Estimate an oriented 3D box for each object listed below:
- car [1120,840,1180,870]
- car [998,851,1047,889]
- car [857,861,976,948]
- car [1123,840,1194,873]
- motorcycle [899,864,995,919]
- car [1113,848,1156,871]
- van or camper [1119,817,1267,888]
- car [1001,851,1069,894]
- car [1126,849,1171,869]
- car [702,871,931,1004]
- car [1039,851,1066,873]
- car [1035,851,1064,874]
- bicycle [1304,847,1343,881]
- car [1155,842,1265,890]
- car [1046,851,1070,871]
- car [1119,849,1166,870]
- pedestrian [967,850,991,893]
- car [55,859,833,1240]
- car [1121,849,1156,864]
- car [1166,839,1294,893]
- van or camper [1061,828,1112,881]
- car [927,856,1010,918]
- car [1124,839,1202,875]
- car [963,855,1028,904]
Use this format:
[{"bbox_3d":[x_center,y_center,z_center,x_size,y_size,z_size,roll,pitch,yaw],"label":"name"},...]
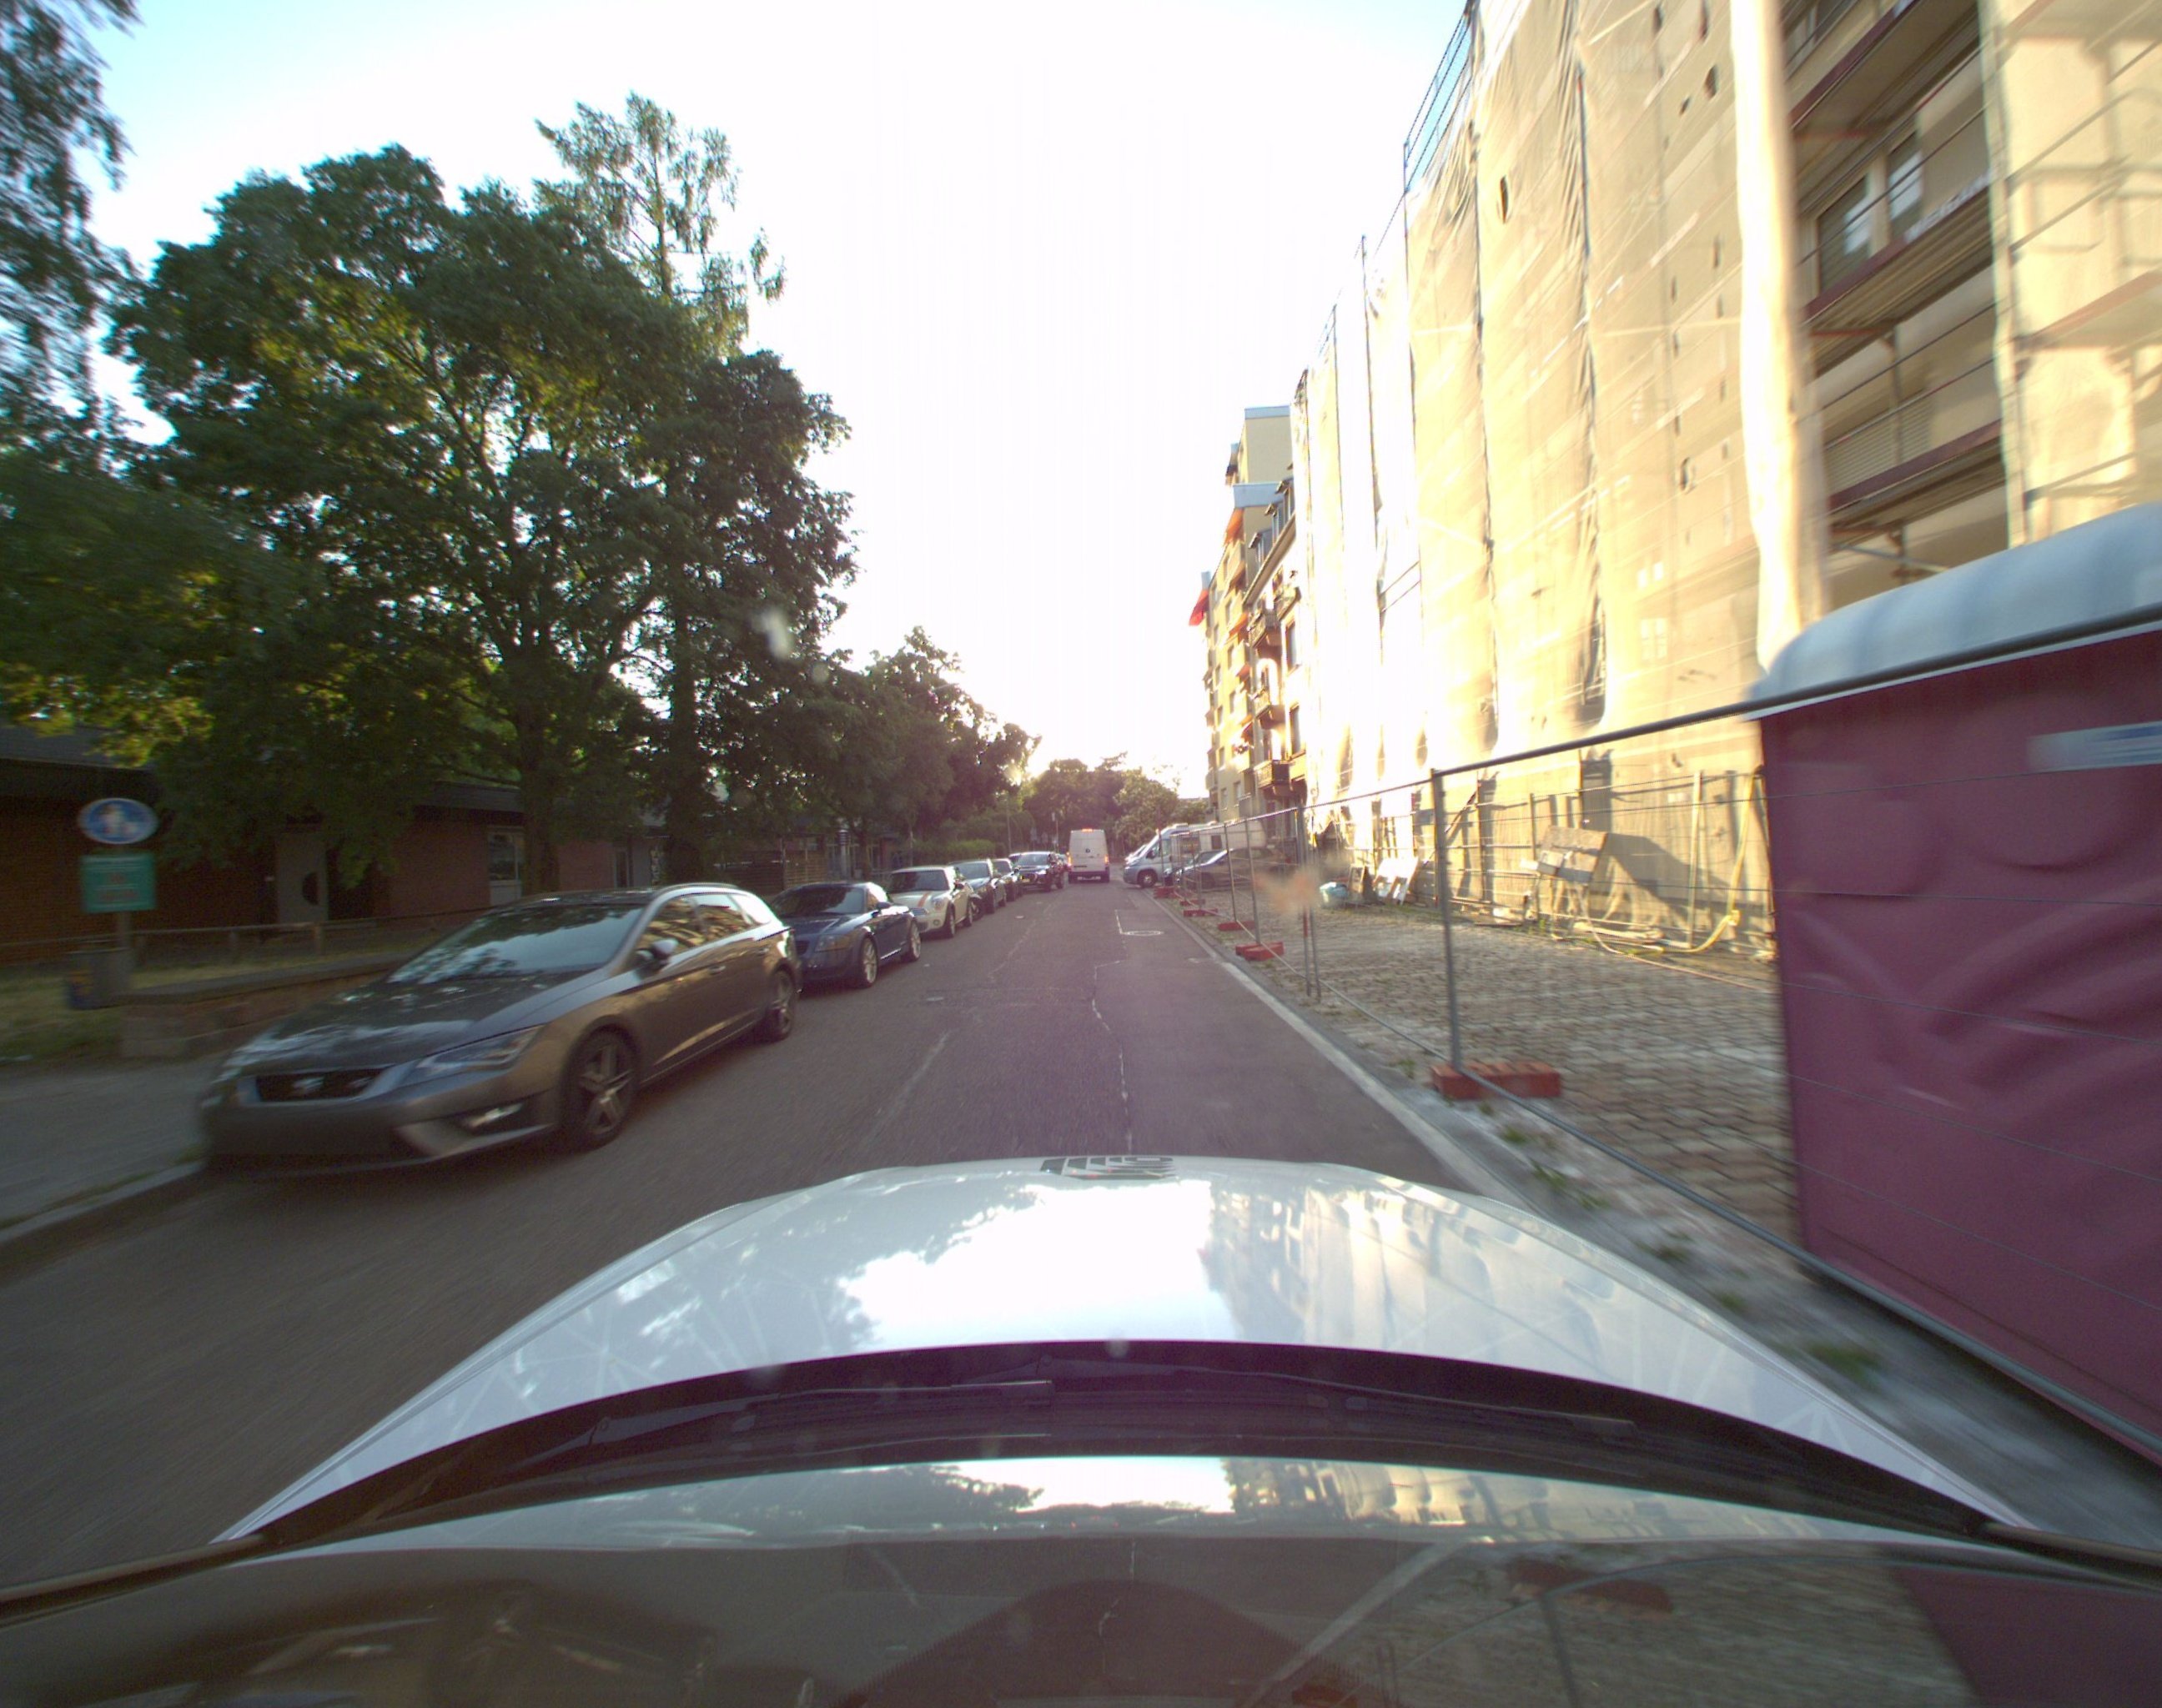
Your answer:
[{"bbox_3d":[5.364,0.073,63.504,4.481,2.230,2.032,-1,0,0],"label":"car"},{"bbox_3d":[-2.819,0.761,40.194,1.776,1.631,4.003,-4,0,3],"label":"car"},{"bbox_3d":[-3.276,0.952,16.953,1.596,1.431,3.803,-5,0,0],"label":"car"},{"bbox_3d":[5.348,0.165,56.794,4.692,2.145,1.999,-1,0,-1],"label":"car"},{"bbox_3d":[-3.332,0.924,20.323,2.148,1.303,0.883,-1,0,15],"label":"motorcycle"},{"bbox_3d":[5.006,0.528,76.935,3.971,2.013,2.001,-1,0,2],"label":"car"},{"bbox_3d":[4.635,-0.062,34.359,5.910,2.770,2.109,-1,0,0],"label":"van or camper"},{"bbox_3d":[-1.807,0.708,33.444,1.794,1.569,4.576,-3,0,8],"label":"car"},{"bbox_3d":[6.162,0.472,74.559,3.972,1.728,2.001,-1,0,1],"label":"car"},{"bbox_3d":[-3.393,0.993,11.346,1.653,1.313,4.156,-4,0,2],"label":"car"},{"bbox_3d":[-2.264,0.609,65.266,1.987,1.618,3.999,-1,0,-1],"label":"car"},{"bbox_3d":[-2.320,0.620,60.263,1.987,1.618,3.999,-1,0,-1],"label":"car"},{"bbox_3d":[8.698,0.346,29.301,0.629,1.168,2.031,-2,0,-5],"label":"bicycle"},{"bbox_3d":[4.940,0.480,31.556,3.920,1.486,1.788,-5,-2,2],"label":"car"},{"bbox_3d":[-1.983,0.593,70.984,1.987,1.618,3.999,-1,0,-1],"label":"car"},{"bbox_3d":[5.386,0.485,71.527,3.972,1.728,2.001,-1,0,1],"label":"car"},{"bbox_3d":[-4.455,0.773,35.657,0.935,1.830,0.786,-1,0,-1],"label":"pedestrian"},{"bbox_3d":[-3.546,0.878,5.987,1.854,1.538,4.759,-4,0,0],"label":"car"},{"bbox_3d":[6.827,0.295,96.833,3.978,1.618,1.998,-1,0,-3],"label":"car"},{"bbox_3d":[5.183,0.398,28.706,3.979,1.515,2.017,-5,0,-4],"label":"car"},{"bbox_3d":[0.348,0.026,42.042,2.445,2.547,6.085,0,0,1],"label":"van or camper"},{"bbox_3d":[-3.129,0.869,23.515,1.710,1.496,4.360,-4,0,0],"label":"car"},{"bbox_3d":[5.117,0.181,51.304,4.692,2.145,1.999,-1,0,-1],"label":"car"},{"bbox_3d":[-2.942,0.853,28.678,1.631,1.478,3.994,-4,0,2],"label":"car"}]
